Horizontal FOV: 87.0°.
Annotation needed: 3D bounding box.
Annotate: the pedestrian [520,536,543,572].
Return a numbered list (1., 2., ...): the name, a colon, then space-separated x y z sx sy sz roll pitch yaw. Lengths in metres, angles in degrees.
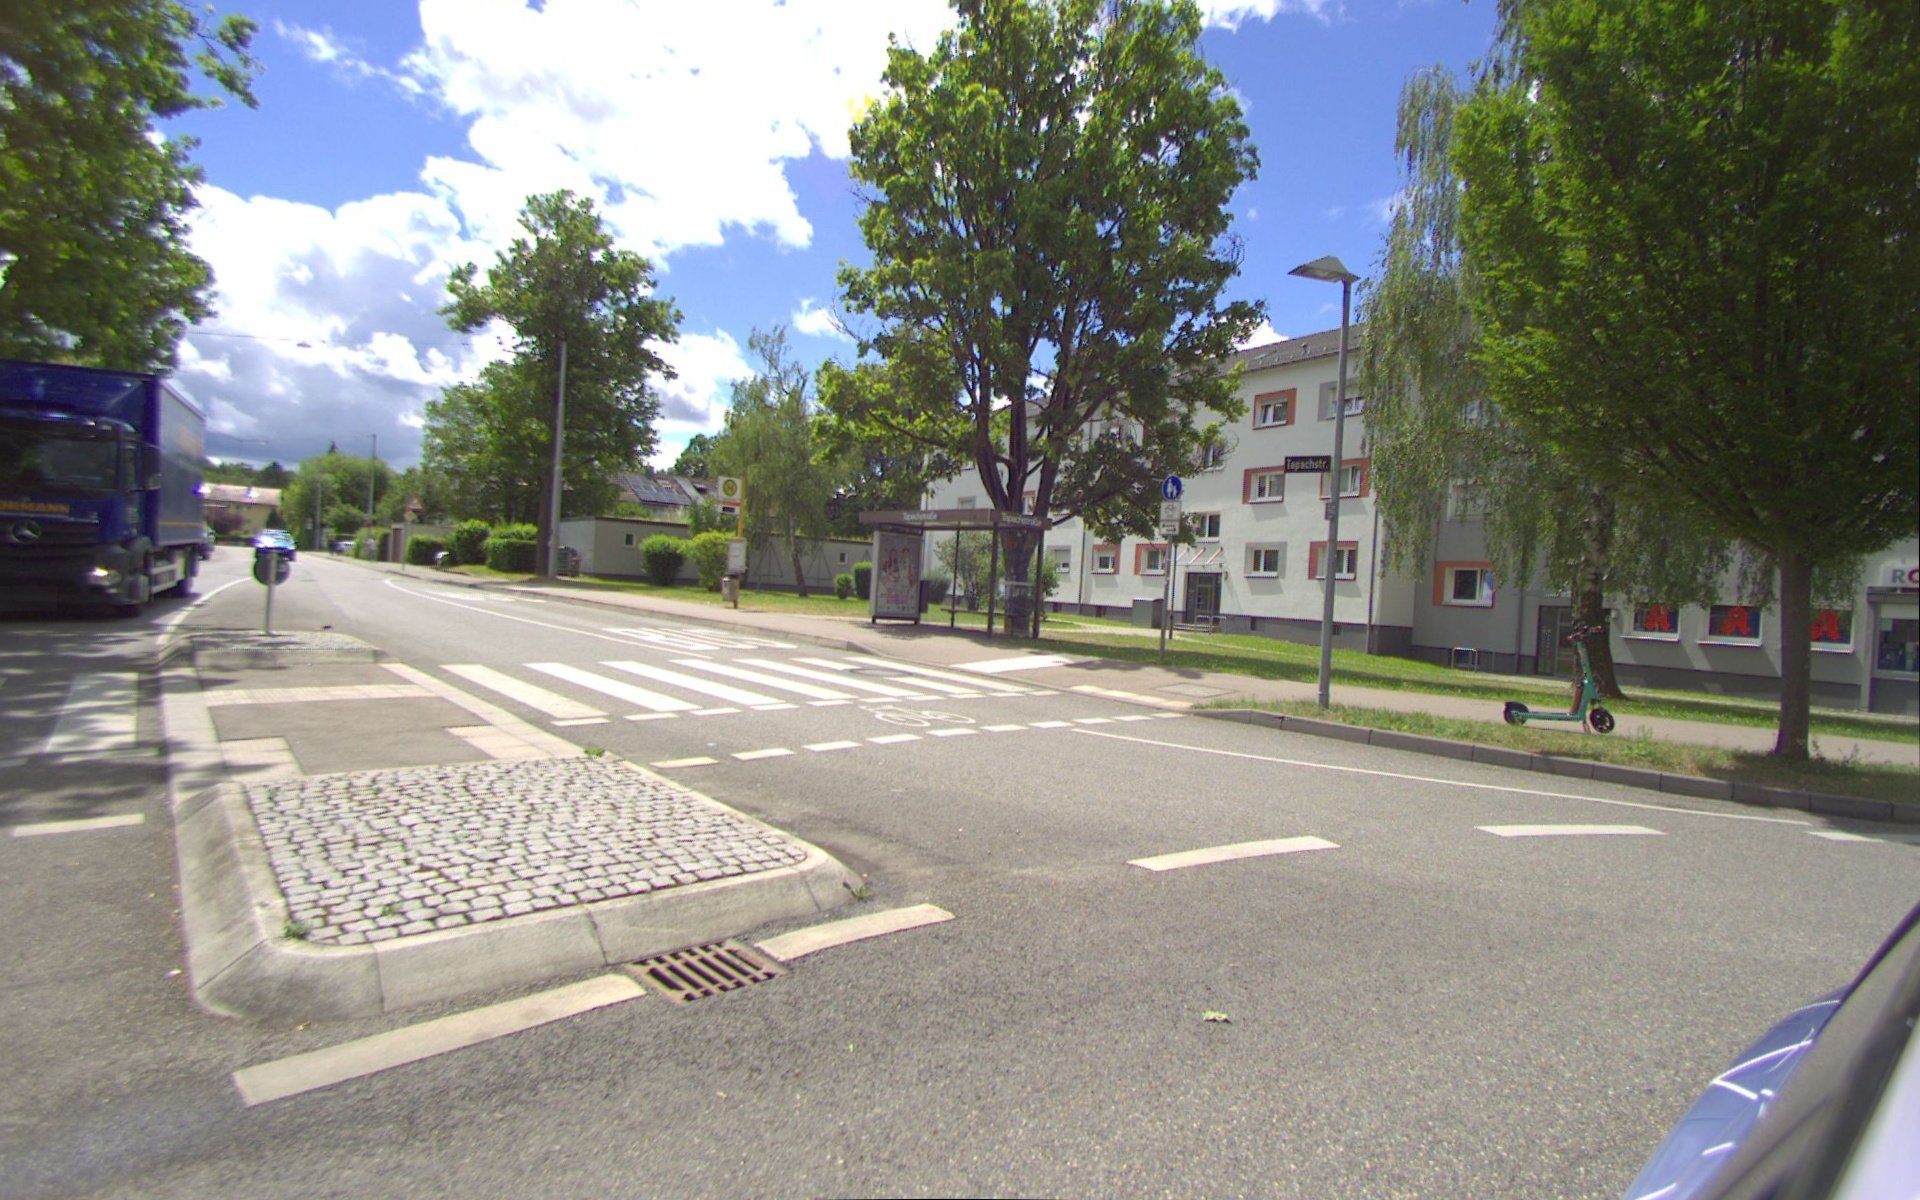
1. pedestrian: -19.979 -2.155 47.181 0.885 1.601 0.661 3 1 -29

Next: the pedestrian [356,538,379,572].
1. pedestrian: -37.231 -2.805 63.589 1.006 2.038 1.041 3 1 -39

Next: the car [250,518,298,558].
1. car: -36.544 -3.262 53.941 1.961 1.803 4.001 4 -1 -34

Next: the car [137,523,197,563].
1. car: -35.747 -2.519 45.663 1.963 1.572 3.998 4 -1 -38

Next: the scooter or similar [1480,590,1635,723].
1. scooter or similar: 6.881 0.624 11.710 1.371 1.359 0.483 5 1 20

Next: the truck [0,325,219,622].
1. truck: -16.110 -1.992 18.829 2.734 4.204 9.808 3 1 -31
